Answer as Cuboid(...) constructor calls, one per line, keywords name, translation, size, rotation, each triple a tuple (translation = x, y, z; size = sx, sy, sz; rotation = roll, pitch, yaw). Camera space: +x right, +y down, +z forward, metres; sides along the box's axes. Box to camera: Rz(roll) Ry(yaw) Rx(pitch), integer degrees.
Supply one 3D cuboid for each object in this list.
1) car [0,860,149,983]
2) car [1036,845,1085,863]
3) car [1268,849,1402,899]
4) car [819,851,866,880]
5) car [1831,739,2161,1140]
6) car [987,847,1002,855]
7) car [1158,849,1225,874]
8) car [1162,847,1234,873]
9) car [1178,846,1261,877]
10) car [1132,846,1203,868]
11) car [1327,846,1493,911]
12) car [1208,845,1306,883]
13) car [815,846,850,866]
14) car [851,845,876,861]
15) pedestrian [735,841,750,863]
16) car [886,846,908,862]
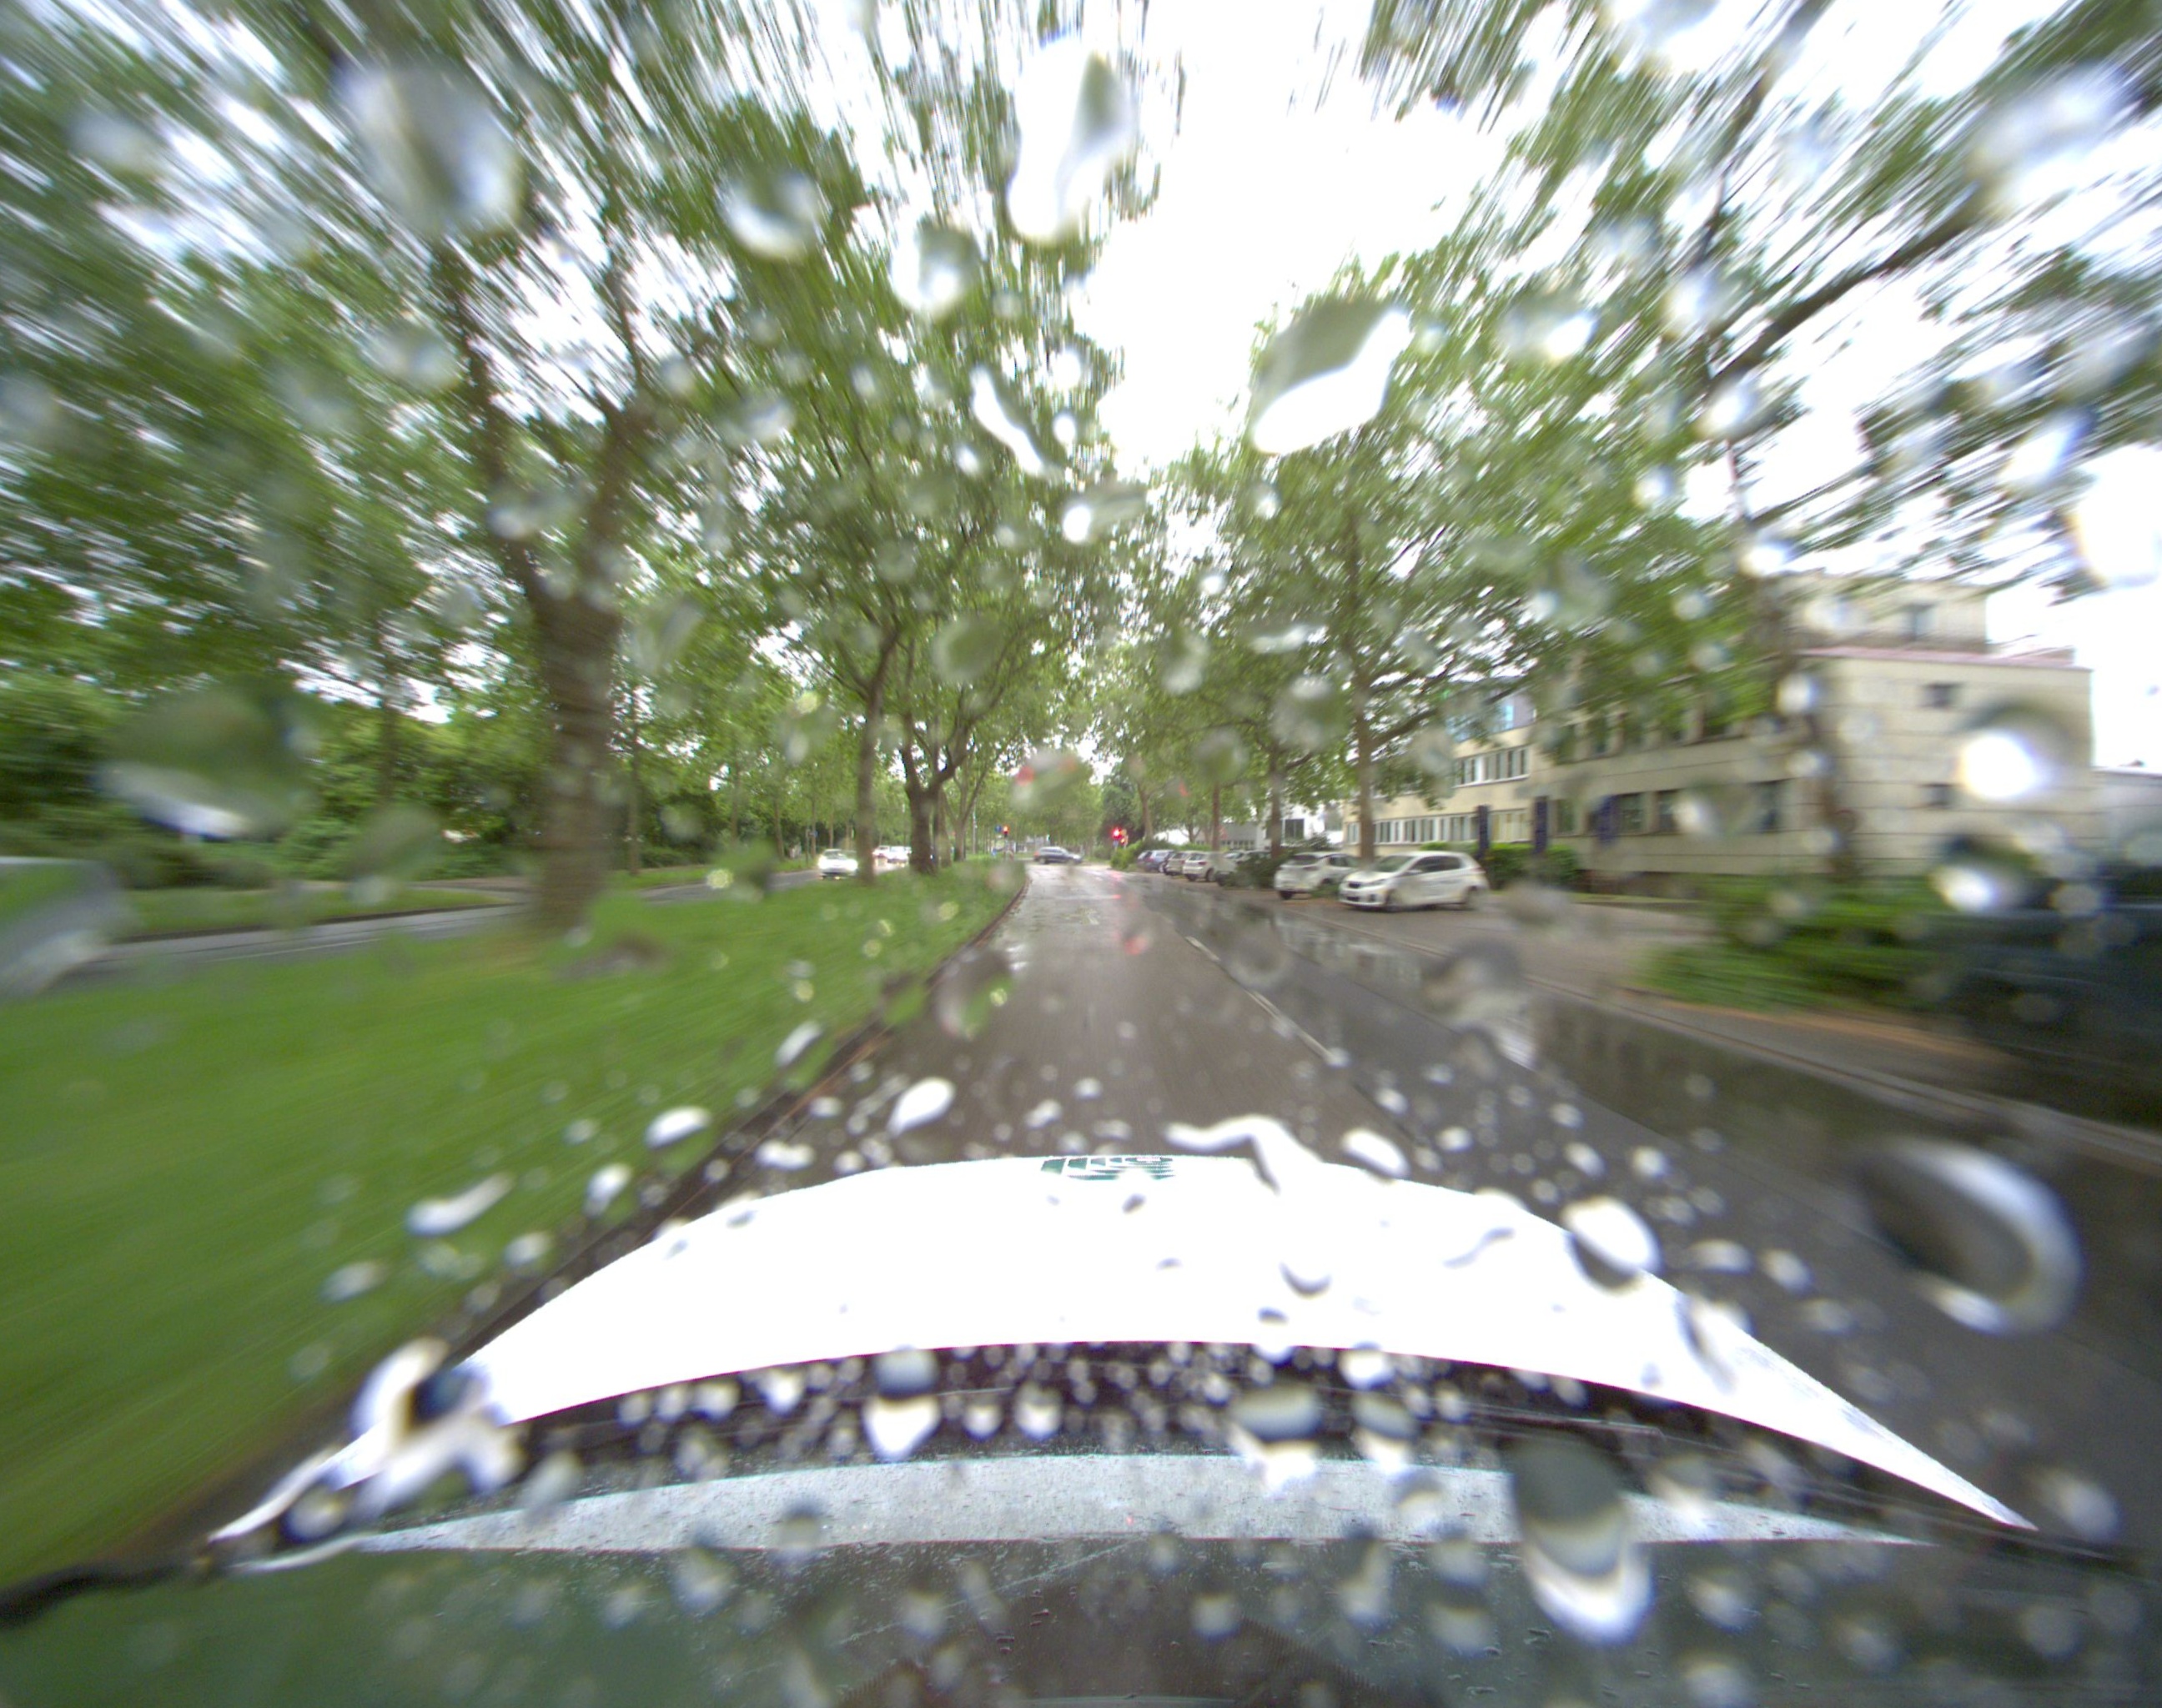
Cuboid(name="car", translation=(-14.016, 0.832, 9.544), size=(1.738, 1.459, 3.841), rotation=(1, 0, -1))
Cuboid(name="car", translation=(-1.926, -0.037, 77.105), size=(4.266, 1.650, 1.753), rotation=(1, 0, 9))
Cuboid(name="car", translation=(7.820, 0.572, 24.988), size=(4.053, 1.428, 1.731), rotation=(1, 0, -33))
Cuboid(name="car", translation=(-12.935, 0.592, 44.360), size=(1.742, 1.476, 4.399), rotation=(1, 0, -7))
Cuboid(name="car", translation=(6.485, 0.444, 3.243), size=(2.112, 2.028, 5.531), rotation=(1, 0, 3))
Cuboid(name="car", translation=(-25.976, -0.906, 244.576), size=(3.995, 2.014, 1.989), rotation=(1, -2, -16))
Cuboid(name="car", translation=(6.564, 0.421, 48.325), size=(3.706, 1.416, 1.731), rotation=(1, 0, -33))
Cuboid(name="car", translation=(6.464, 0.325, 45.040), size=(3.706, 1.416, 1.757), rotation=(1, 0, -33))
Cuboid(name="car", translation=(6.706, 0.366, 39.501), size=(3.703, 1.416, 1.733), rotation=(1, 0, -29))
Cuboid(name="car", translation=(5.779, 0.213, 54.040), size=(4.508, 1.459, 1.733), rotation=(1, 0, -29))
Cuboid(name="car", translation=(8.320, 0.576, 20.669), size=(3.643, 1.504, 1.739), rotation=(0, 1, -17))
Cuboid(name="car", translation=(7.467, 0.414, 34.337), size=(4.054, 1.539, 1.730), rotation=(1, 0, -34))
Cuboid(name="car", translation=(-19.244, 0.117, 63.238), size=(1.740, 1.476, 4.076), rotation=(1, 0, -5))
Cuboid(name="car", translation=(-21.888, -0.133, 81.984), size=(1.741, 1.591, 4.200), rotation=(1, 0, -6))
Cuboid(name="pedestrian", translation=(-25.755, -0.173, 61.995), size=(0.830, 1.674, 0.897), rotation=(1, 0, -8))
Cuboid(name="car", translation=(-18.109, -0.006, 80.407), size=(1.742, 1.591, 4.317), rotation=(1, 0, -8))
